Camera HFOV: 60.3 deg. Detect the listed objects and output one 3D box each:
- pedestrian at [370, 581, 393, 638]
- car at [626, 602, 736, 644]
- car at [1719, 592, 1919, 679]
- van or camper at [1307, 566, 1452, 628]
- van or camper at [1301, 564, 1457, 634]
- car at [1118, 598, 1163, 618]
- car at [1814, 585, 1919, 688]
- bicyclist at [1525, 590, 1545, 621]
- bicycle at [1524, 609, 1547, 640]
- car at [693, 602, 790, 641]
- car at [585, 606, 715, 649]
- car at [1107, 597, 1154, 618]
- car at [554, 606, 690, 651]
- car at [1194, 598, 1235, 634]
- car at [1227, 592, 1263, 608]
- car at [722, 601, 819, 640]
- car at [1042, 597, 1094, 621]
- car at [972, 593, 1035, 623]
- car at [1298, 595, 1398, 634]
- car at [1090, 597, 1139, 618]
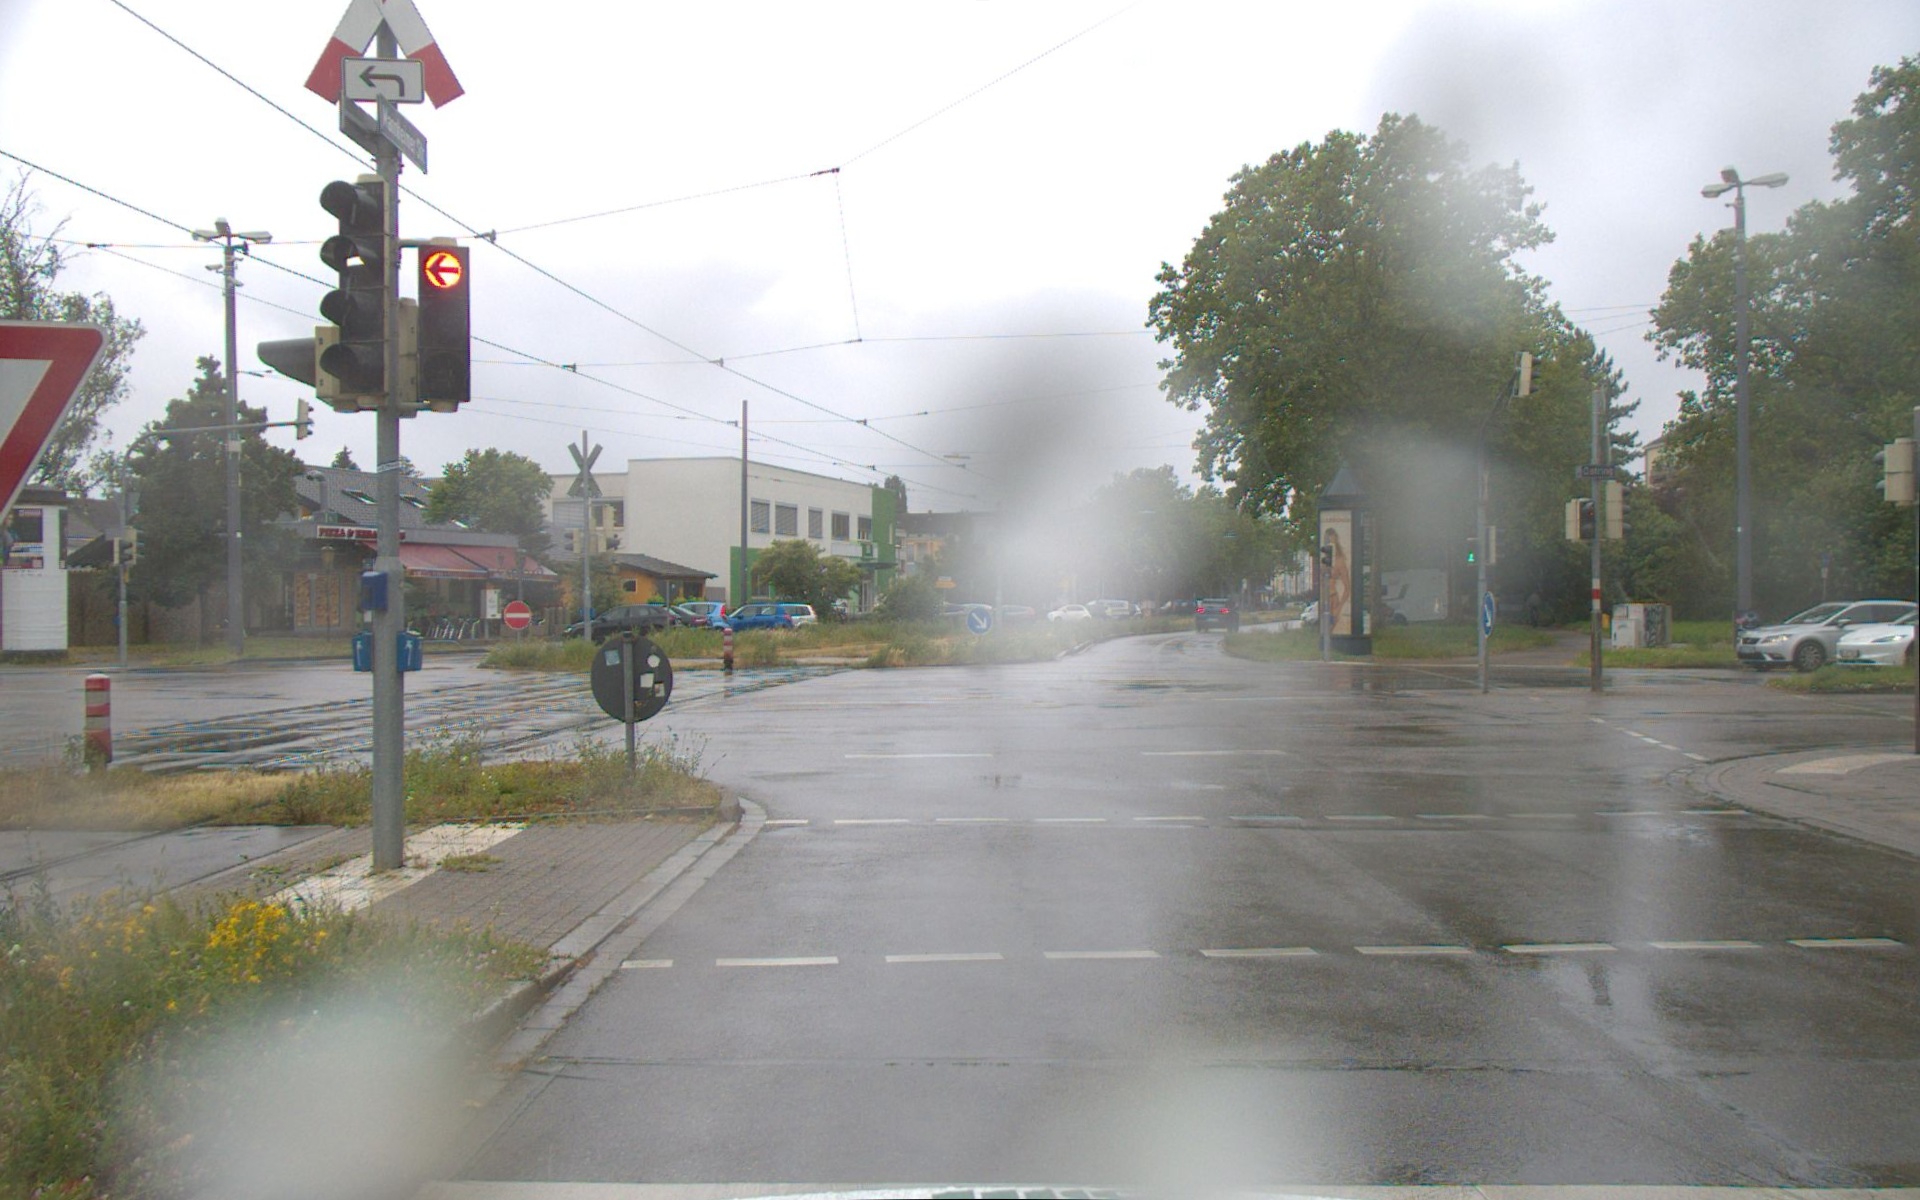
[{"bbox_3d":[-21.097,0.334,60.318,0.713,2.049,0.789,1,-1,-23],"label":"pedestrian"},{"bbox_3d":[-10.880,0.883,64.612,3.903,1.609,1.859,0,0,4],"label":"car"},{"bbox_3d":[18.458,0.734,34.635,4.309,1.721,1.931,1,0,-7],"label":"car"},{"bbox_3d":[22.818,-0.176,90.029,7.274,3.234,3.262,1,0,22],"label":"van or camper"},{"bbox_3d":[20.496,-0.040,80.823,7.168,3.234,3.264,1,0,17],"label":"van or camper"},{"bbox_3d":[17.361,0.744,159.175,3.909,1.864,1.998,1,0,-5],"label":"car"},{"bbox_3d":[18.878,0.706,31.310,4.506,1.860,1.931,1,0,-7],"label":"car"},{"bbox_3d":[27.273,0.247,78.433,0.843,1.450,0.957,1,0,17],"label":"bicyclist"},{"bbox_3d":[27.174,1.150,78.120,0.843,1.450,2.705,1,0,16],"label":"bicycle"},{"bbox_3d":[-9.210,0.884,69.612,3.916,1.609,1.924,0,0,-12],"label":"car"},{"bbox_3d":[-11.453,1.015,61.213,4.405,1.443,1.858,-2,0,0],"label":"car"},{"bbox_3d":[15.888,0.697,154.084,3.916,1.864,1.994,1,0,-12],"label":"car"},{"bbox_3d":[-11.974,1.002,58.797,4.385,1.443,1.858,-2,0,0],"label":"car"},{"bbox_3d":[12.784,0.786,83.002,1.767,1.716,3.914,1,0,13],"label":"car"},{"bbox_3d":[34.297,-0.027,199.213,3.909,1.864,1.998,1,0,-5],"label":"car"},{"bbox_3d":[-8.354,0.884,72.778,4.040,1.670,1.922,0,0,-15],"label":"car"},{"bbox_3d":[8.273,0.693,126.889,3.706,1.732,1.832,1,0,-11],"label":"car"},{"bbox_3d":[2.860,0.507,110.039,3.911,1.920,1.997,1,0,-7],"label":"car"},{"bbox_3d":[18.273,0.664,77.836,4.352,1.747,2.000,1,0,21],"label":"car"},{"bbox_3d":[13.530,0.656,145.085,3.916,1.789,2.004,1,0,-12],"label":"car"}]
